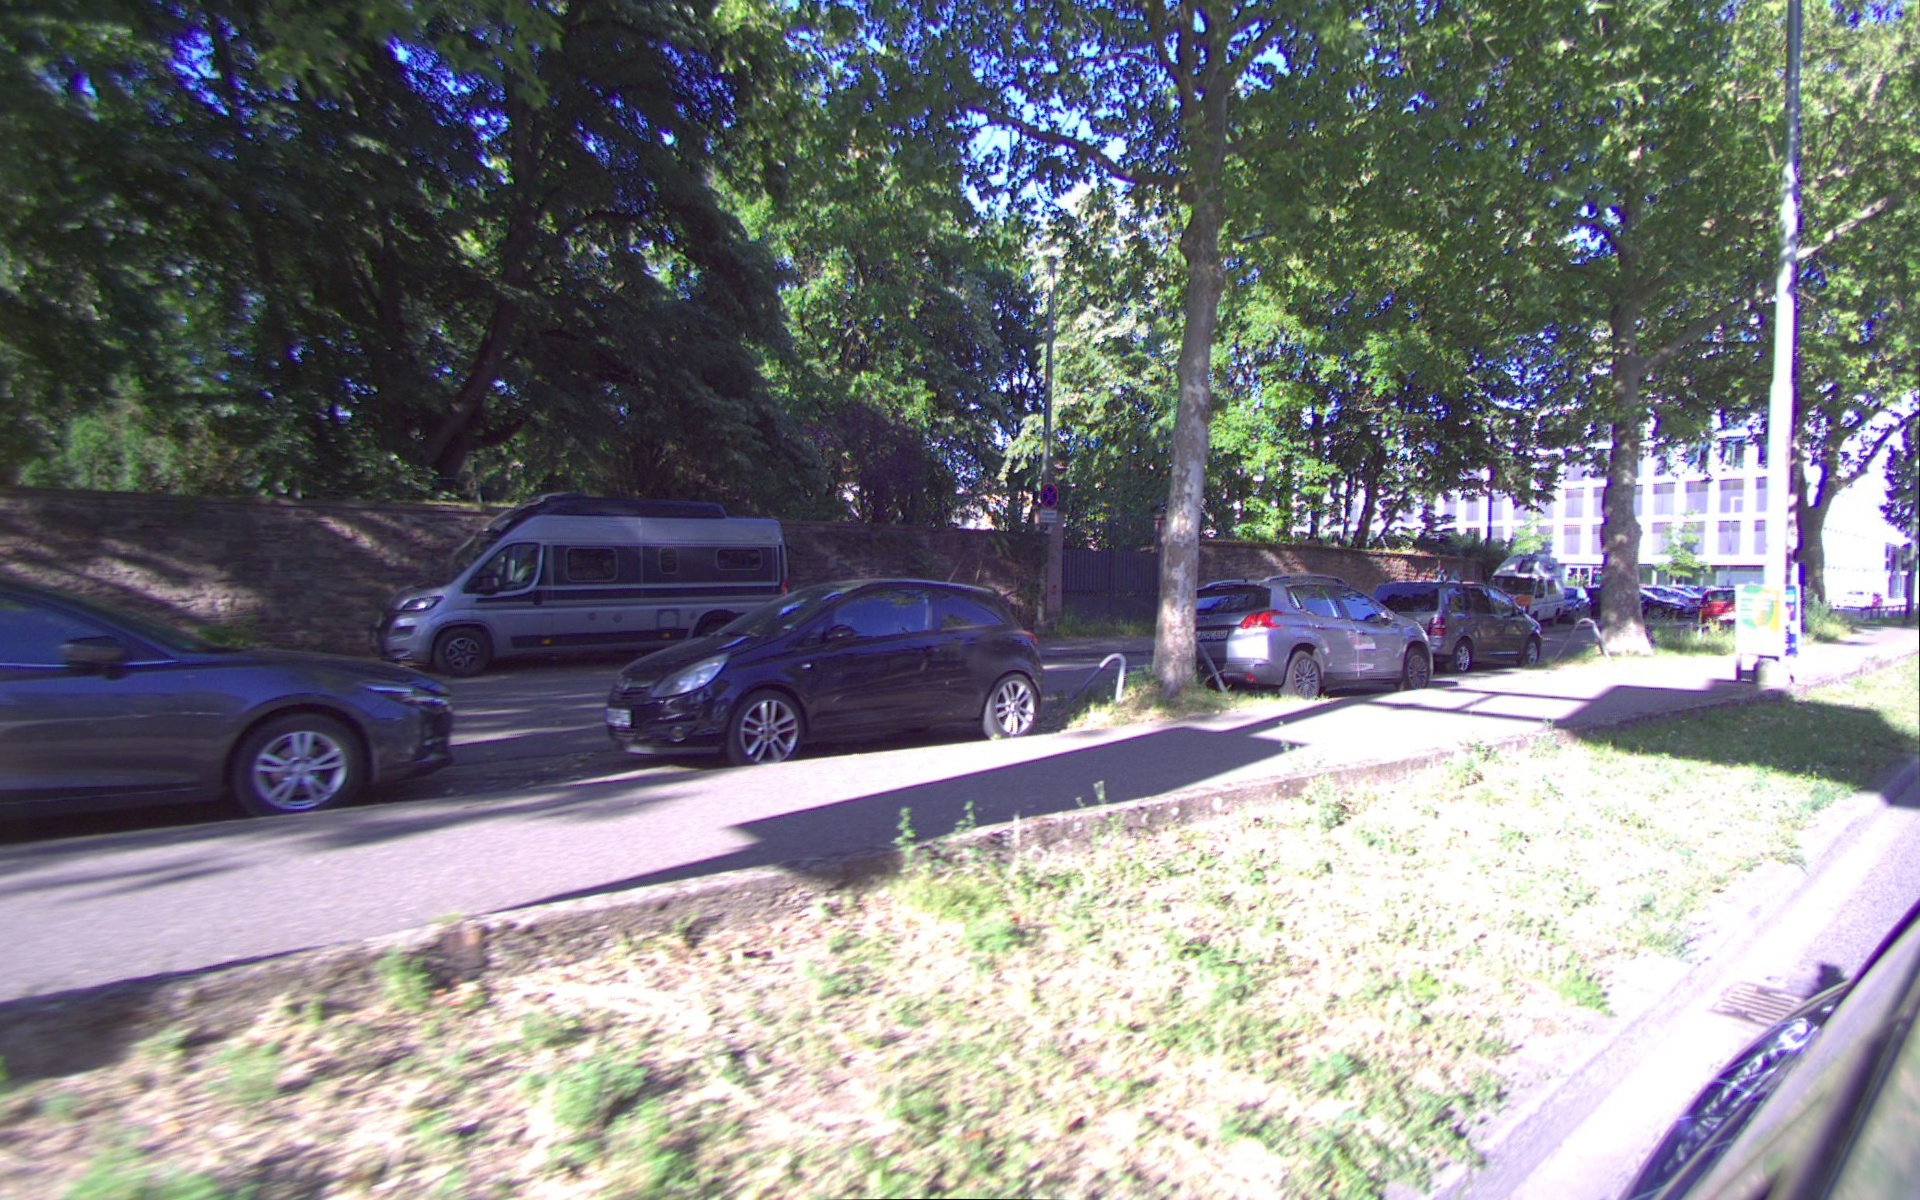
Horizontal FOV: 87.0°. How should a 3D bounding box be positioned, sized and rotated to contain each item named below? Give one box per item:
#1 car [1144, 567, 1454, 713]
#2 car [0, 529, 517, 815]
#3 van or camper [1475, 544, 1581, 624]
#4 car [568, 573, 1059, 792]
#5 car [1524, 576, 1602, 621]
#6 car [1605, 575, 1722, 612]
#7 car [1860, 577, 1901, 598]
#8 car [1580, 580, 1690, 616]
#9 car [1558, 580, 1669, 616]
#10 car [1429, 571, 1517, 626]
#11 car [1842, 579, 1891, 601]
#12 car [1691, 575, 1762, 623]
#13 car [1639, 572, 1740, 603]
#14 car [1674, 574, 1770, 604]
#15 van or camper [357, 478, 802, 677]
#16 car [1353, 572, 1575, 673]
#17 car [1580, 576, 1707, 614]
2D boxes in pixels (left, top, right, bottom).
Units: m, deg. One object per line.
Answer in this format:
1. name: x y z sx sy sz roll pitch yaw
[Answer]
1. car: 4.379 0.415 12.855 3.947 1.580 1.797 -1 -1 -38
2. car: -5.237 0.360 5.825 4.591 1.399 1.999 -1 0 -37
3. van or camper: 21.550 -0.654 38.326 4.882 2.763 1.997 -2 5 -44
4. car: -1.145 0.519 8.725 3.814 1.456 1.797 -1 1 -39
5. car: 24.986 -0.114 41.881 1.994 1.592 3.940 6 5 42
6. car: 35.538 -0.385 51.236 1.963 1.427 4.397 0 6 -37
7. car: 74.436 -0.999 81.848 4.198 1.503 1.869 -2 5 -40
8. car: 31.783 -0.140 47.745 1.590 1.409 4.000 -1 4 -37
9. car: 29.951 -0.146 46.457 1.736 1.523 3.992 -1 2 -43
10. car: 17.608 -0.095 34.669 1.837 1.637 3.944 6 5 38
11. car: 70.551 -0.804 78.757 4.322 1.503 2.000 -1 5 -38
12. car: 28.222 -0.086 37.234 1.989 1.660 3.945 0 1 38
13. car: 39.885 -0.692 55.386 1.752 1.516 4.197 -1 3 -43
14. car: 43.794 -0.653 58.248 1.685 1.485 4.091 -1 4 -39
15. van or camper: -6.129 -0.399 16.758 6.441 2.716 2.566 0 4 -36
16. car: 9.474 0.334 18.891 4.540 1.655 1.798 -1 1 -36
17. car: 33.320 -0.282 49.455 1.965 1.422 4.733 -1 6 -39
